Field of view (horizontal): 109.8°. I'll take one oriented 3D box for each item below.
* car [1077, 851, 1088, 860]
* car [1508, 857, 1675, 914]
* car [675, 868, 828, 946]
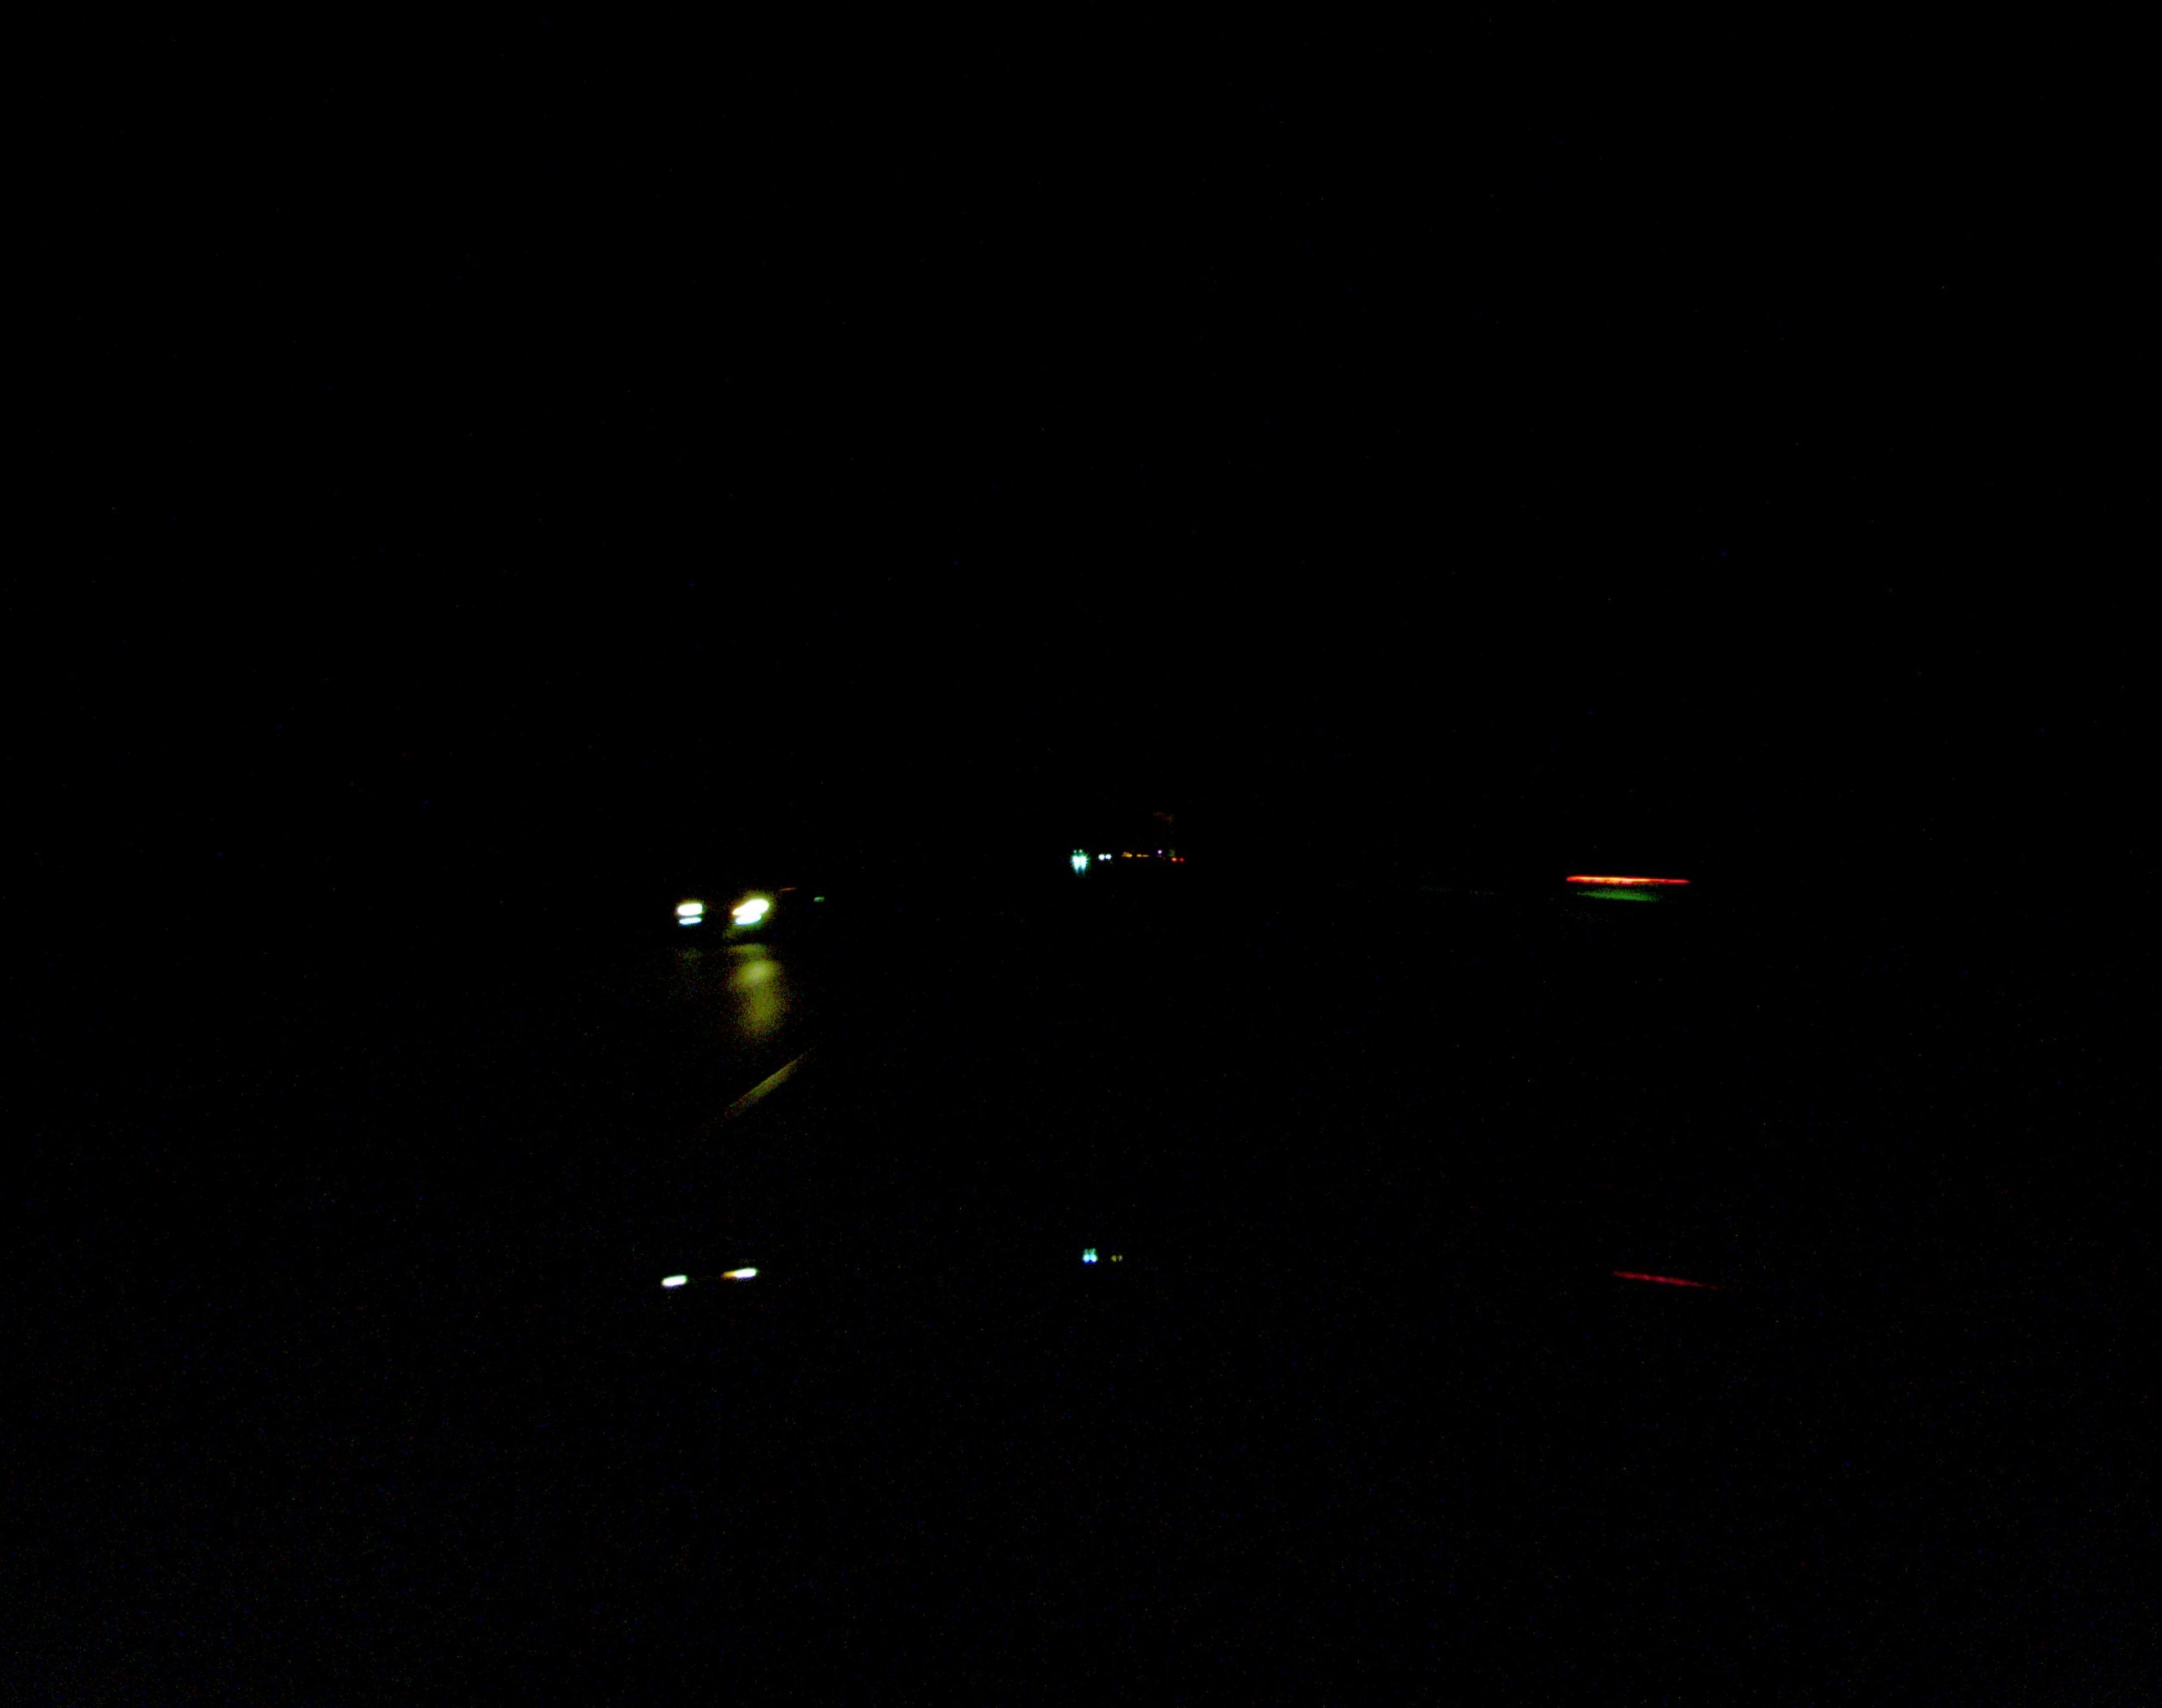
[{"bbox_3d":[0.311,0.318,169.681,2.267,1.842,5.403,-3,1,0],"label":"car"},{"bbox_3d":[15.204,0.853,23.028,1.754,1.470,4.942,0,1,0],"label":"car"},{"bbox_3d":[-7.390,1.107,17.571,1.826,1.458,4.246,-1,1,-3],"label":"car"}]
